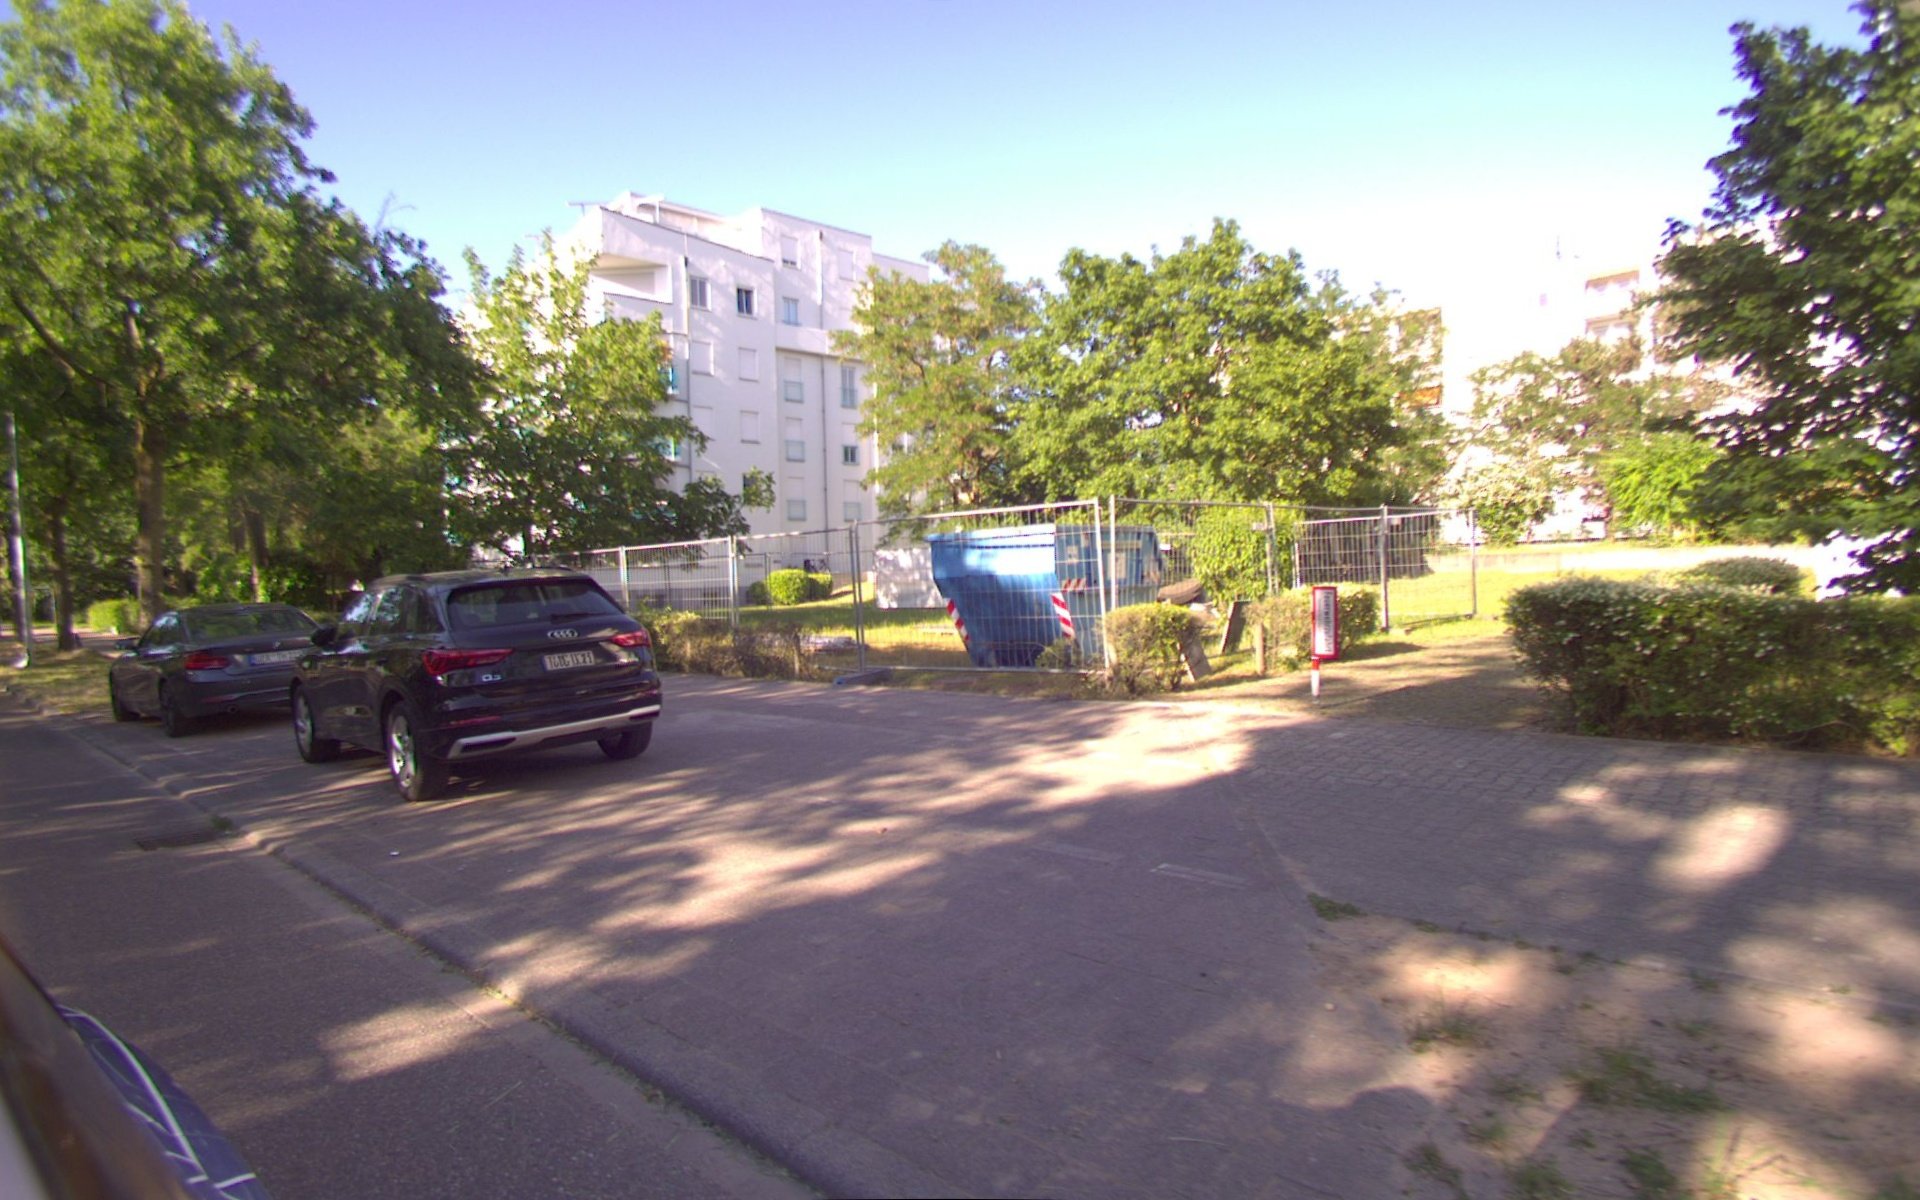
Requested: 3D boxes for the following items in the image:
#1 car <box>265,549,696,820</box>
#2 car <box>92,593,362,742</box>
[{"bbox_3d":[-4.146,0.524,8.393,4.221,1.633,1.756,-1,3,44],"label":"car"},{"bbox_3d":[-9.154,0.736,12.514,4.134,1.443,1.699,-1,3,40],"label":"car"}]
